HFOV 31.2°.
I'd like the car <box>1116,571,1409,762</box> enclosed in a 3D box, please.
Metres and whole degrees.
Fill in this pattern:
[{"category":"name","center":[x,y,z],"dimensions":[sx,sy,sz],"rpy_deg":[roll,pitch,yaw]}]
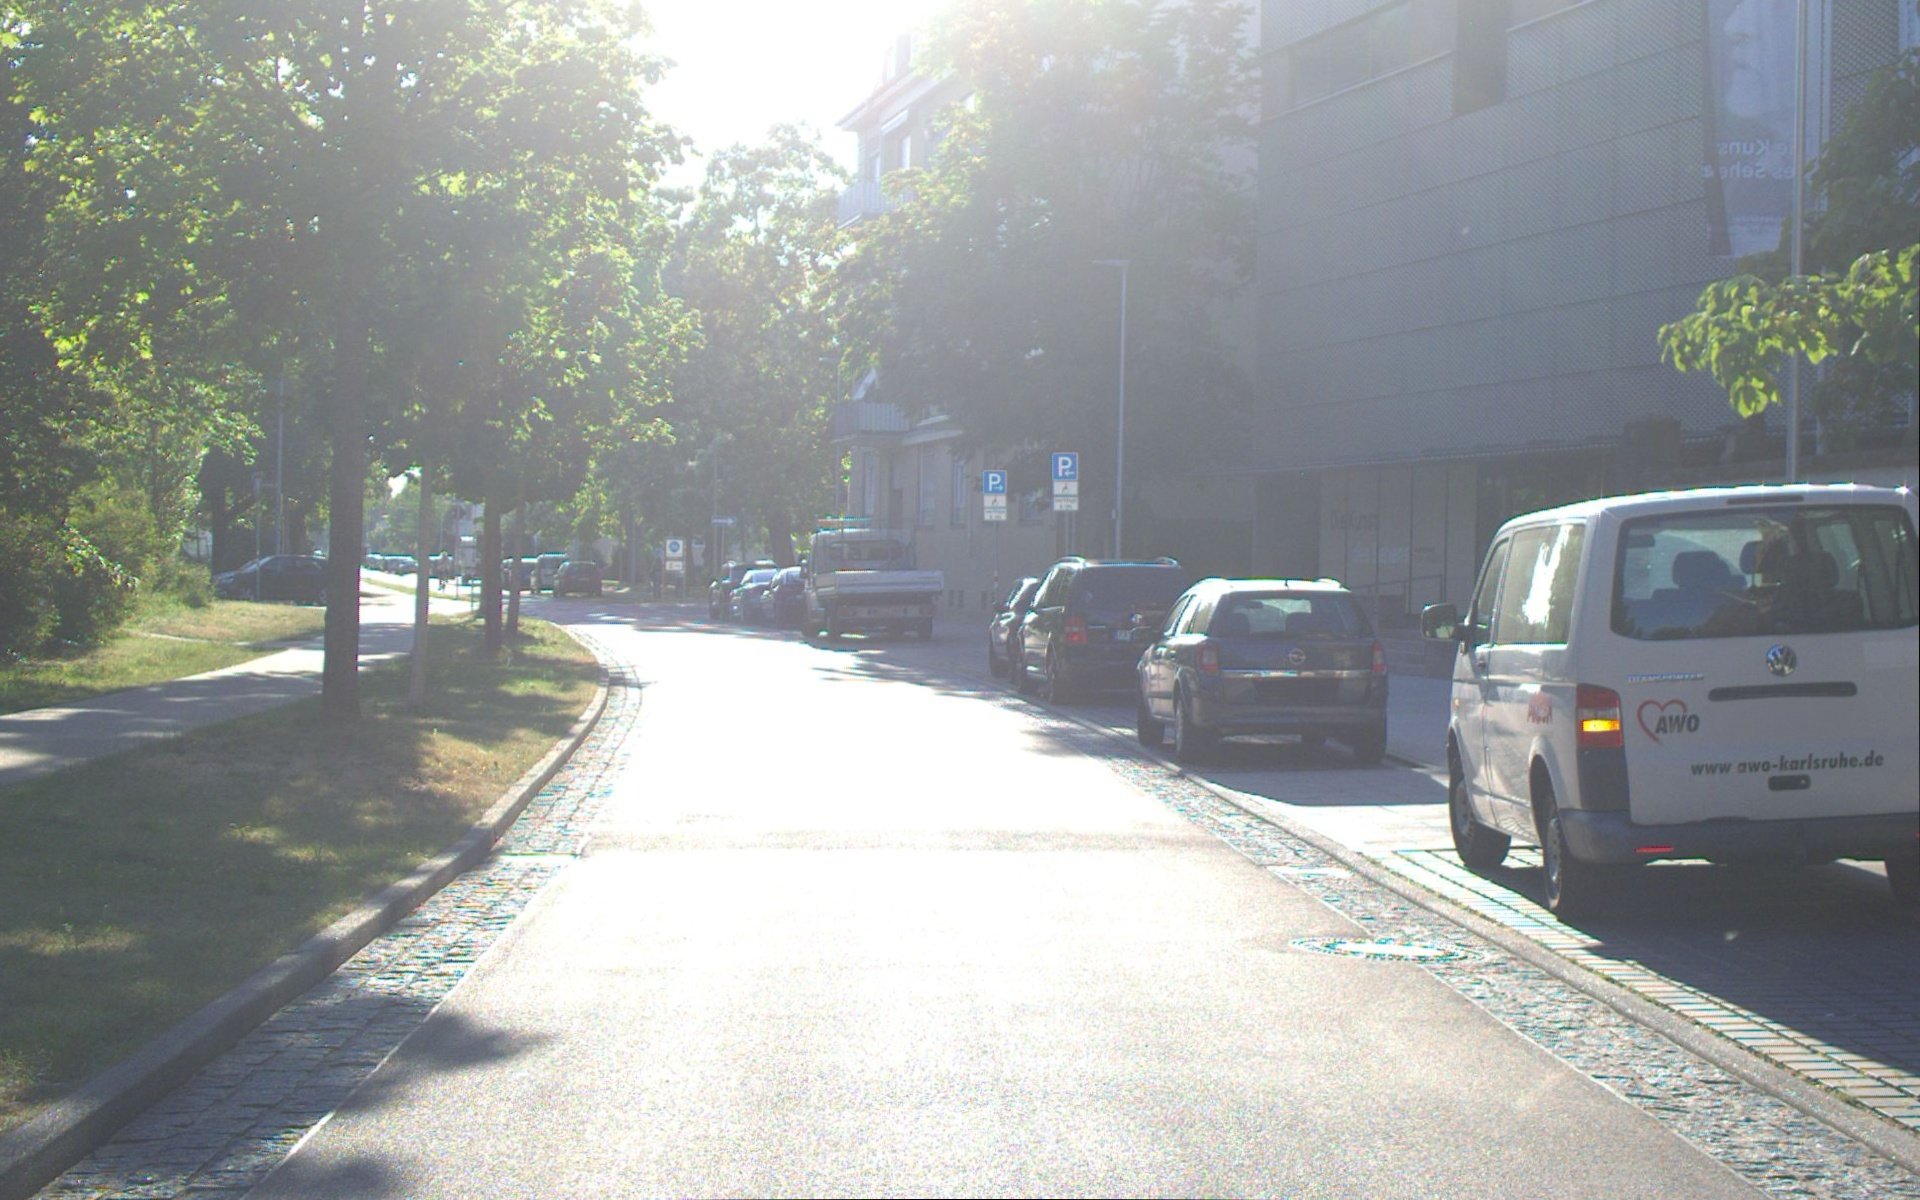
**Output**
[{"category":"car","center":[2.500,0.505,29.450],"dimensions":[1.747,1.461,4.478],"rpy_deg":[-1,1,-5]}]

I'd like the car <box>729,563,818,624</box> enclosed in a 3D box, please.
[{"category":"car","center":[-4.639,-0.179,84.925],"dimensions":[1.690,1.435,4.105],"rpy_deg":[1,1,-10]}]

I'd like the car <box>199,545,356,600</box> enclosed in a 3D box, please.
[{"category":"car","center":[-19.530,-0.790,98.362],"dimensions":[3.987,1.415,1.771],"rpy_deg":[2,1,-36]}]

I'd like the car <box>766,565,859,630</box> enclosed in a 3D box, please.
[{"category":"car","center":[-3.438,-0.082,79.654],"dimensions":[1.690,1.435,3.551],"rpy_deg":[1,1,-10]}]

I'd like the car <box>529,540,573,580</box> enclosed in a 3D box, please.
[{"category":"car","center":[-18.623,-1.811,156.434],"dimensions":[1.793,1.718,4.001],"rpy_deg":[2,1,-9]}]

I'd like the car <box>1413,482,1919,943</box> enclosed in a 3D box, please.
[{"category":"car","center":[3.633,0.431,17.358],"dimensions":[1.993,1.959,4.849],"rpy_deg":[-2,1,0]}]

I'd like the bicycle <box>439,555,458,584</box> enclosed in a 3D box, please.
[{"category":"bicycle","center":[-22.674,-1.368,152.360],"dimensions":[0.688,1.198,2.344],"rpy_deg":[2,2,-6]}]

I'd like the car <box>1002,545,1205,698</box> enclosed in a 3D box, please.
[{"category":"car","center":[1.602,0.204,39.717],"dimensions":[1.724,1.663,4.115],"rpy_deg":[0,1,-6]}]

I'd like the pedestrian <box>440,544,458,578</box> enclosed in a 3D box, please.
[{"category":"pedestrian","center":[-22.671,-1.744,152.582],"dimensions":[0.688,1.429,1.025],"rpy_deg":[2,2,-6]}]

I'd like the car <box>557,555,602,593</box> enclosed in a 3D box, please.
[{"category":"car","center":[-15.795,-1.102,142.845],"dimensions":[1.793,1.505,4.001],"rpy_deg":[2,1,-6]}]

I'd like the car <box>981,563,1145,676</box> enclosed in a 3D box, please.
[{"category":"car","center":[1.330,0.228,45.784],"dimensions":[1.724,1.417,3.907],"rpy_deg":[1,1,-5]}]

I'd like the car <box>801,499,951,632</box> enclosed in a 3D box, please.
[{"category":"car","center":[-1.741,-0.714,68.674],"dimensions":[2.211,2.521,6.149],"rpy_deg":[0,1,-9]}]

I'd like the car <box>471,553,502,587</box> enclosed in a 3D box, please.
[{"category":"car","center":[-28.651,-1.833,207.957],"dimensions":[1.793,1.992,4.001],"rpy_deg":[2,0,-9]}]

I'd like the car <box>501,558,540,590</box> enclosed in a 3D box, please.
[{"category":"car","center":[-21.958,-1.291,171.617],"dimensions":[1.793,1.505,4.001],"rpy_deg":[2,1,-9]}]
